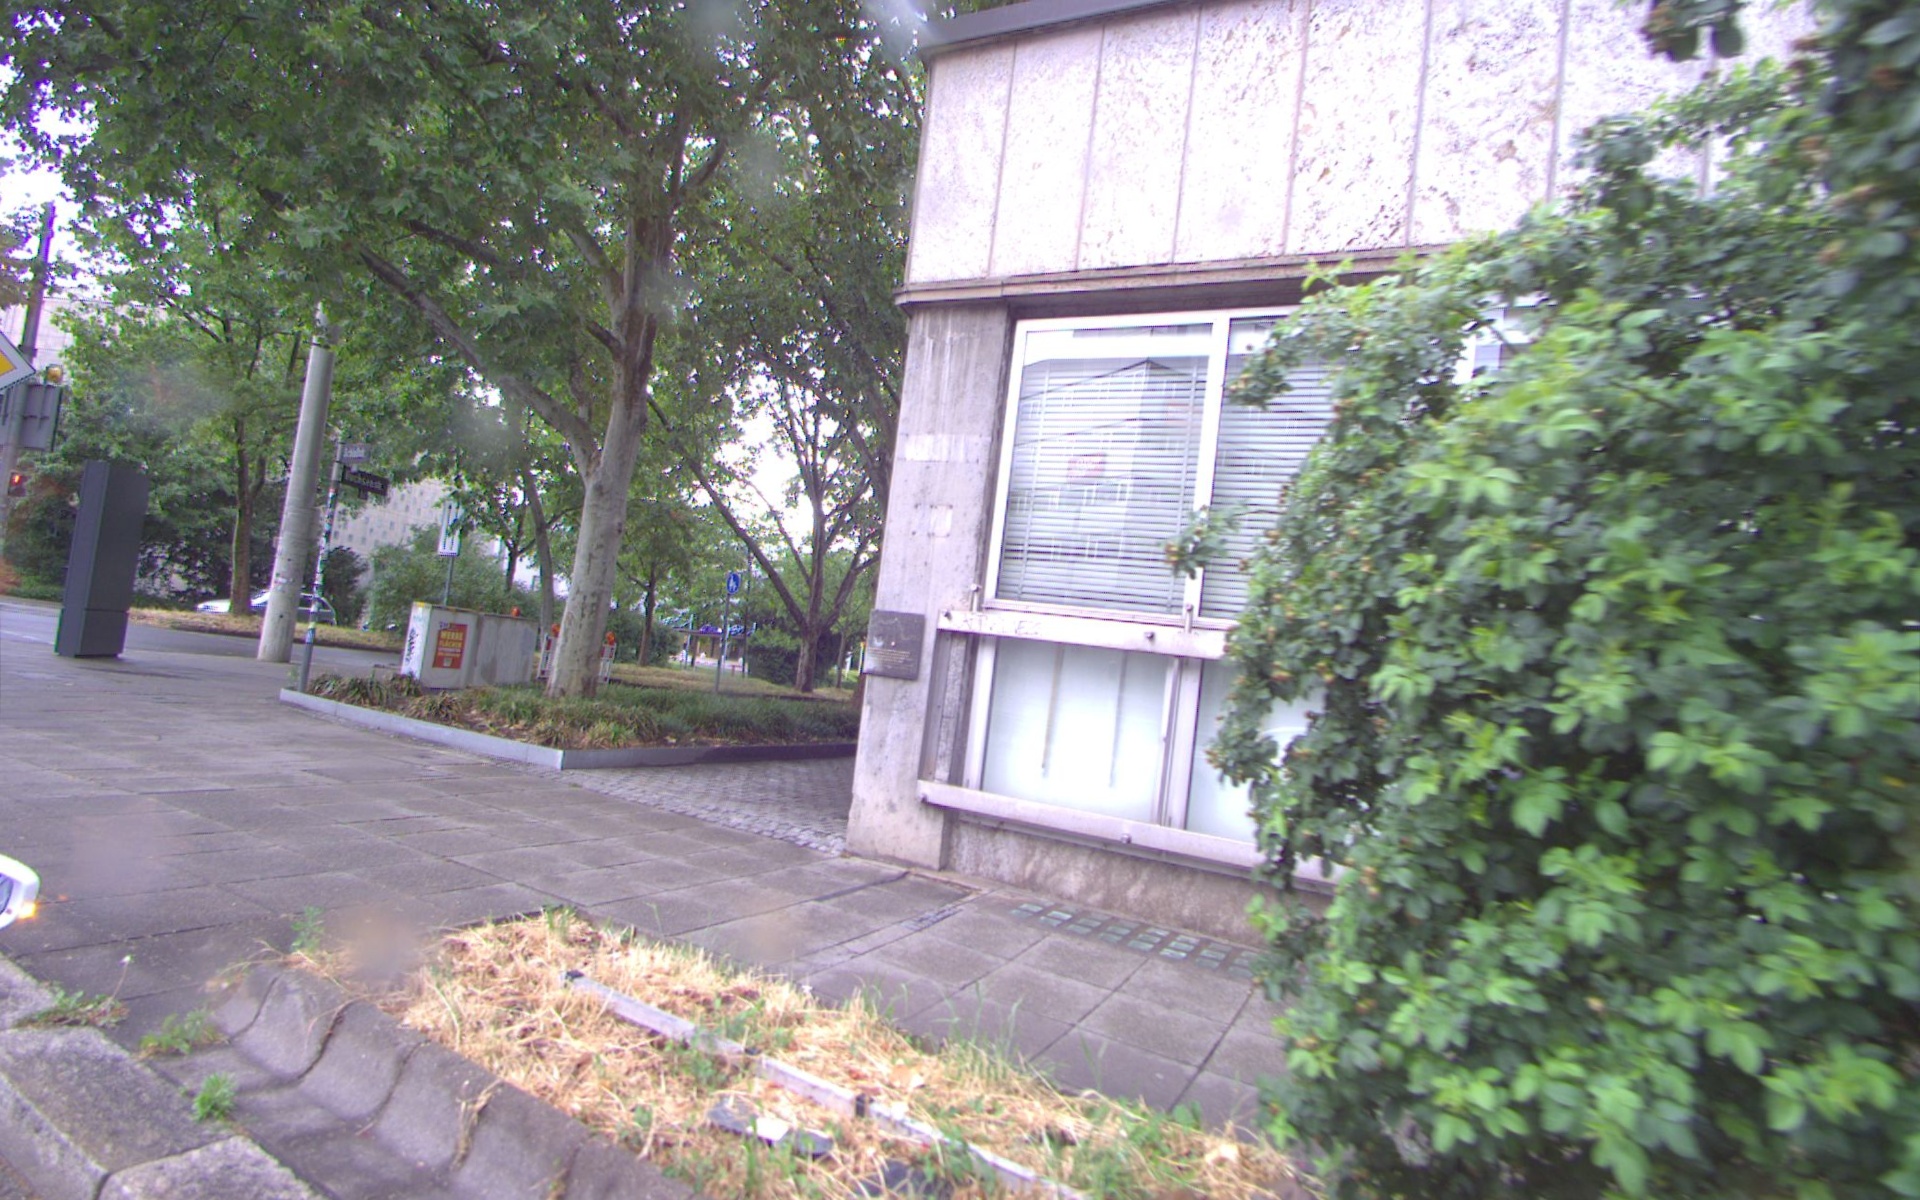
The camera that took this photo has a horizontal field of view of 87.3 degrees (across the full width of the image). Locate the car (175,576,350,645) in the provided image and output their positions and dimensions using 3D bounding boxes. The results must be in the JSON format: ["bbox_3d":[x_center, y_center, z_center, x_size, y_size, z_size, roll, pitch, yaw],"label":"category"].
[{"bbox_3d":[-22.081,0.380,32.019,1.964,1.456,4.007,6,-6,25],"label":"car"}]
